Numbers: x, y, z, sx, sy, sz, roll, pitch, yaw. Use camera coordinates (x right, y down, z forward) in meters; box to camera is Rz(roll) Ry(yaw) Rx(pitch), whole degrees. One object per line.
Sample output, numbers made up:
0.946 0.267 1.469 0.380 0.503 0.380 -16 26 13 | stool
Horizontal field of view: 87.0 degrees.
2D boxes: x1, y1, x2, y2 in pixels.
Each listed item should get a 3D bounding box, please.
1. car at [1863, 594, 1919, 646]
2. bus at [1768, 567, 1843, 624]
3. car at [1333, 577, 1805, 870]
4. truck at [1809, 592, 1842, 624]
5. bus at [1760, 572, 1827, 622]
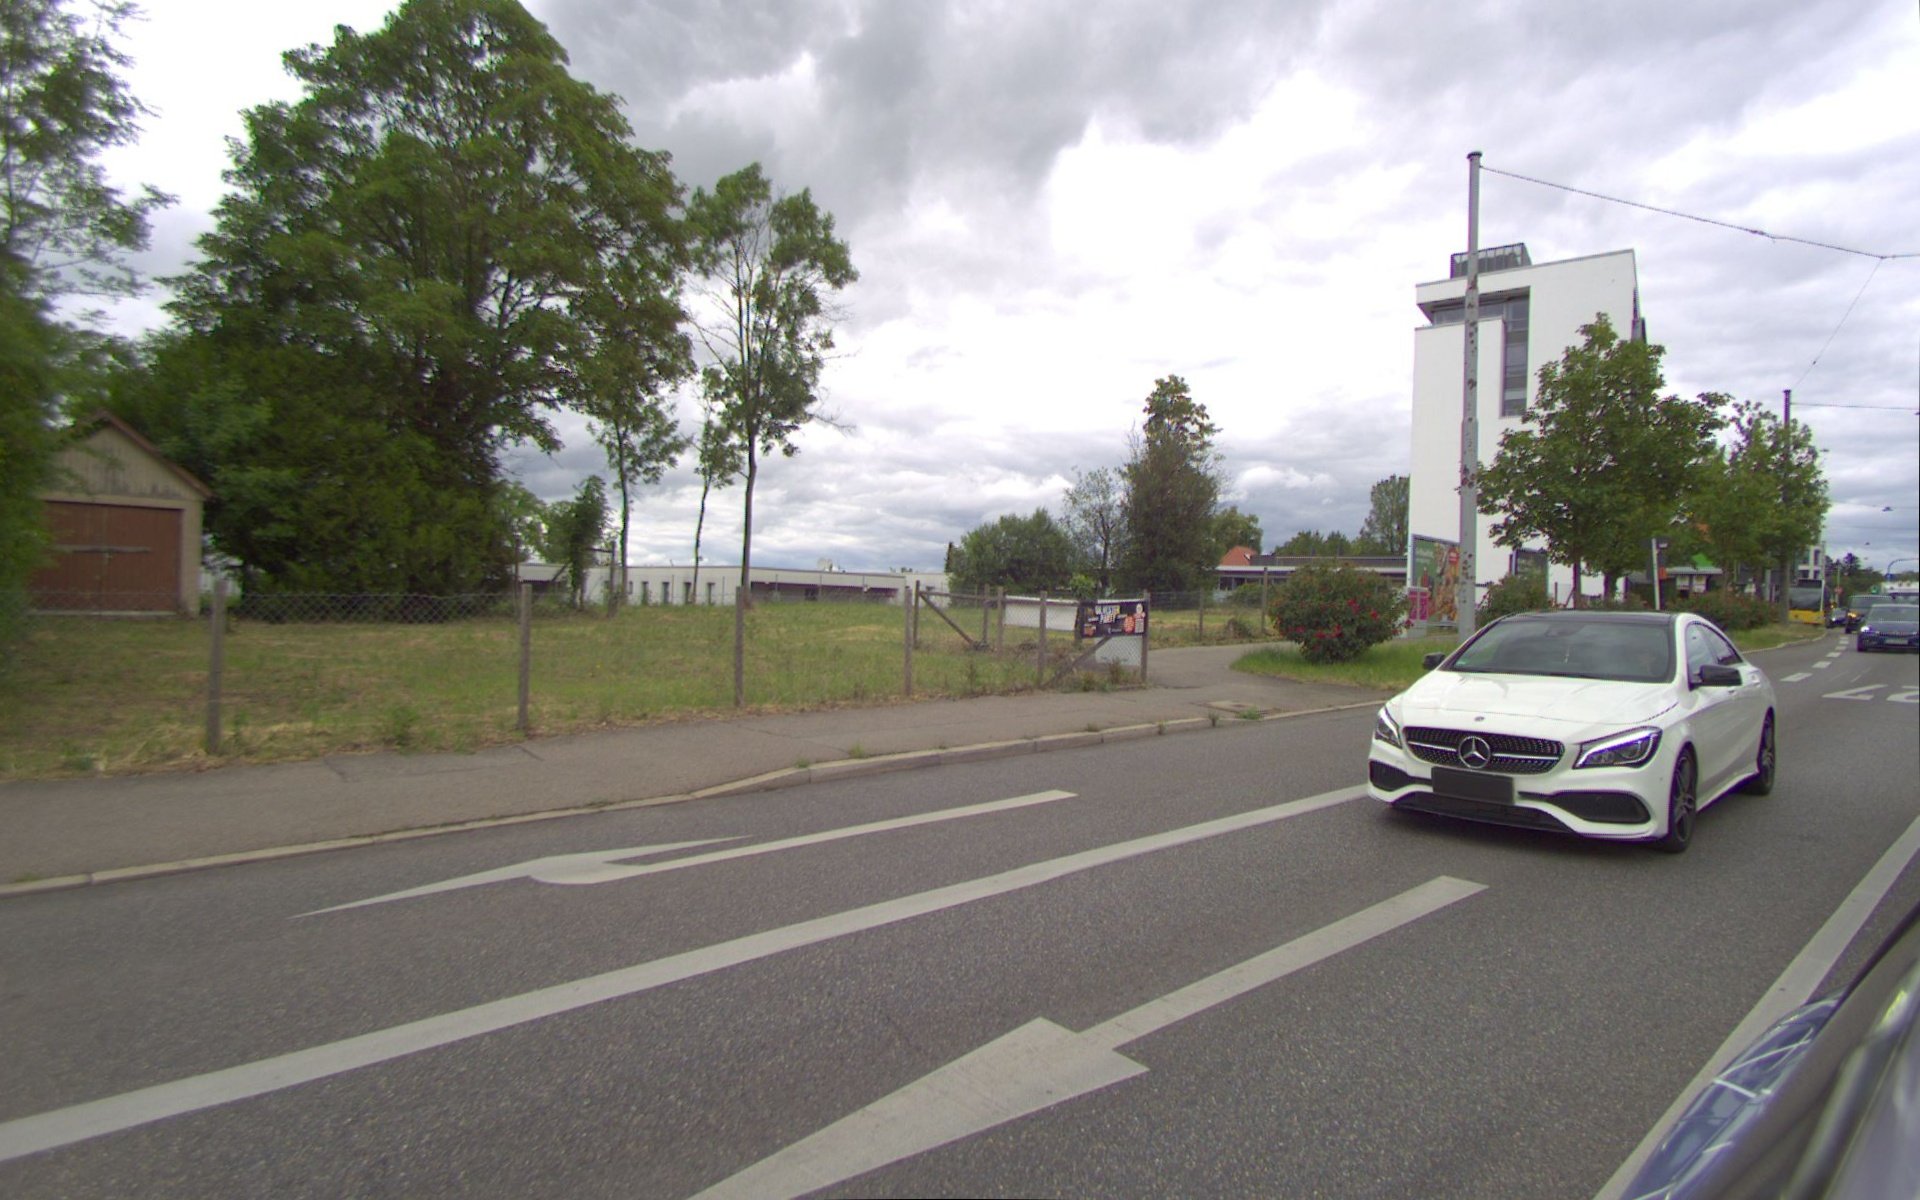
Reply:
28.960 0.590 31.064 1.728 1.501 4.305 0 0 40 | car
52.873 -0.287 63.531 2.975 3.282 9.734 1 0 37 | bus
4.784 0.655 7.591 4.693 1.524 1.869 0 0 -44 | car
118.811 1.127 139.024 2.934 4.007 9.036 4 1 38 | truck
58.380 -0.189 71.066 3.028 3.276 9.214 2 1 36 | bus
